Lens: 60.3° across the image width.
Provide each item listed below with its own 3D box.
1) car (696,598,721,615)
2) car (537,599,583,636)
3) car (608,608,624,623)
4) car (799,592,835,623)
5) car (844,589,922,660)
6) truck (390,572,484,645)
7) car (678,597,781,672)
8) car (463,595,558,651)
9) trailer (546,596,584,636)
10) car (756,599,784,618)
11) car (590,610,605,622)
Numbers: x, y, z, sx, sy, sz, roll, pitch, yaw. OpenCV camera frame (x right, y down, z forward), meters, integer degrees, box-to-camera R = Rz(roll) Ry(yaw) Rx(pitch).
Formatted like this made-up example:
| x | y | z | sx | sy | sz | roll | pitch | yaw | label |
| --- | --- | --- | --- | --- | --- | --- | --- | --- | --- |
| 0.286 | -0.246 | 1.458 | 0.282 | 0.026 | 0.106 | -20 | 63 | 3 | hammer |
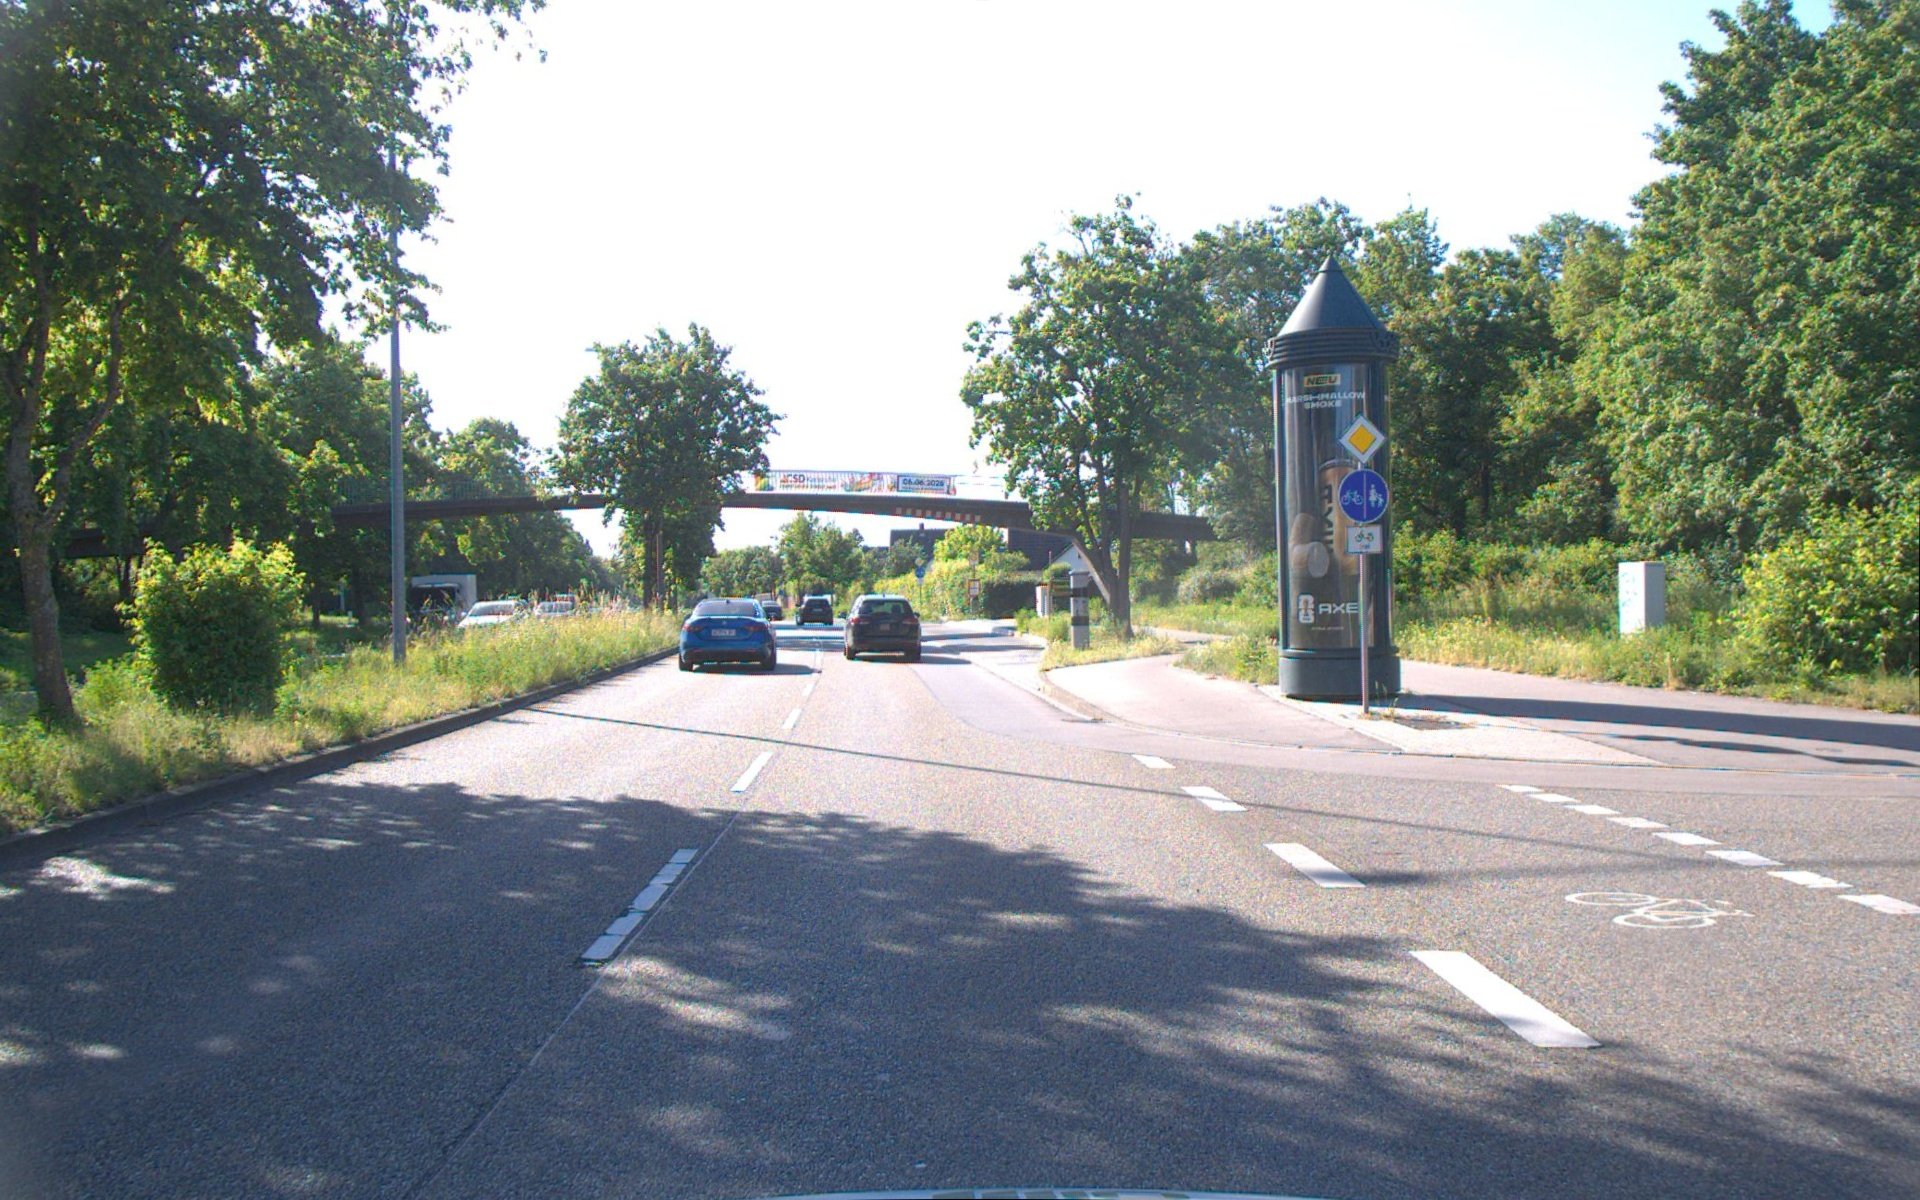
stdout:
| x | y | z | sx | sy | sz | roll | pitch | yaw | label |
| --- | --- | --- | --- | --- | --- | --- | --- | --- | --- |
| -20.831 | 0.533 | 137.055 | 1.864 | 1.379 | 3.989 | -1 | 0 | -11 | car |
| -18.969 | 0.841 | 78.531 | 1.664 | 1.610 | 4.017 | -2 | -2 | -8 | car |
| -39.994 | 1.786 | 192.361 | 1.699 | 1.660 | 4.186 | -2 | 0 | -11 | car |
| -7.741 | 0.362 | 89.028 | 1.711 | 1.625 | 4.167 | 0 | 0 | -8 | car |
| -1.775 | 0.584 | 39.212 | 1.725 | 1.587 | 3.999 | 1 | -1 | -1 | car |
| -20.045 | 0.301 | 63.712 | 2.130 | 2.556 | 5.736 | -3 | 0 | -5 | truck |
| -4.652 | 0.656 | 33.737 | 1.956 | 1.429 | 3.994 | 0 | 0 | -7 | car |
| -14.470 | 0.692 | 53.561 | 1.819 | 1.634 | 5.571 | -2 | 0 | -3 | car |
| -19.659 | 0.763 | 82.459 | 1.534 | 1.943 | 4.273 | -1 | 0 | -9 | trailer |
| -14.504 | 0.670 | 126.200 | 1.864 | 1.379 | 3.989 | -1 | 0 | -11 | car |
| -49.598 | 2.154 | 226.226 | 1.776 | 1.526 | 4.575 | 0 | 0 | -16 | car |
